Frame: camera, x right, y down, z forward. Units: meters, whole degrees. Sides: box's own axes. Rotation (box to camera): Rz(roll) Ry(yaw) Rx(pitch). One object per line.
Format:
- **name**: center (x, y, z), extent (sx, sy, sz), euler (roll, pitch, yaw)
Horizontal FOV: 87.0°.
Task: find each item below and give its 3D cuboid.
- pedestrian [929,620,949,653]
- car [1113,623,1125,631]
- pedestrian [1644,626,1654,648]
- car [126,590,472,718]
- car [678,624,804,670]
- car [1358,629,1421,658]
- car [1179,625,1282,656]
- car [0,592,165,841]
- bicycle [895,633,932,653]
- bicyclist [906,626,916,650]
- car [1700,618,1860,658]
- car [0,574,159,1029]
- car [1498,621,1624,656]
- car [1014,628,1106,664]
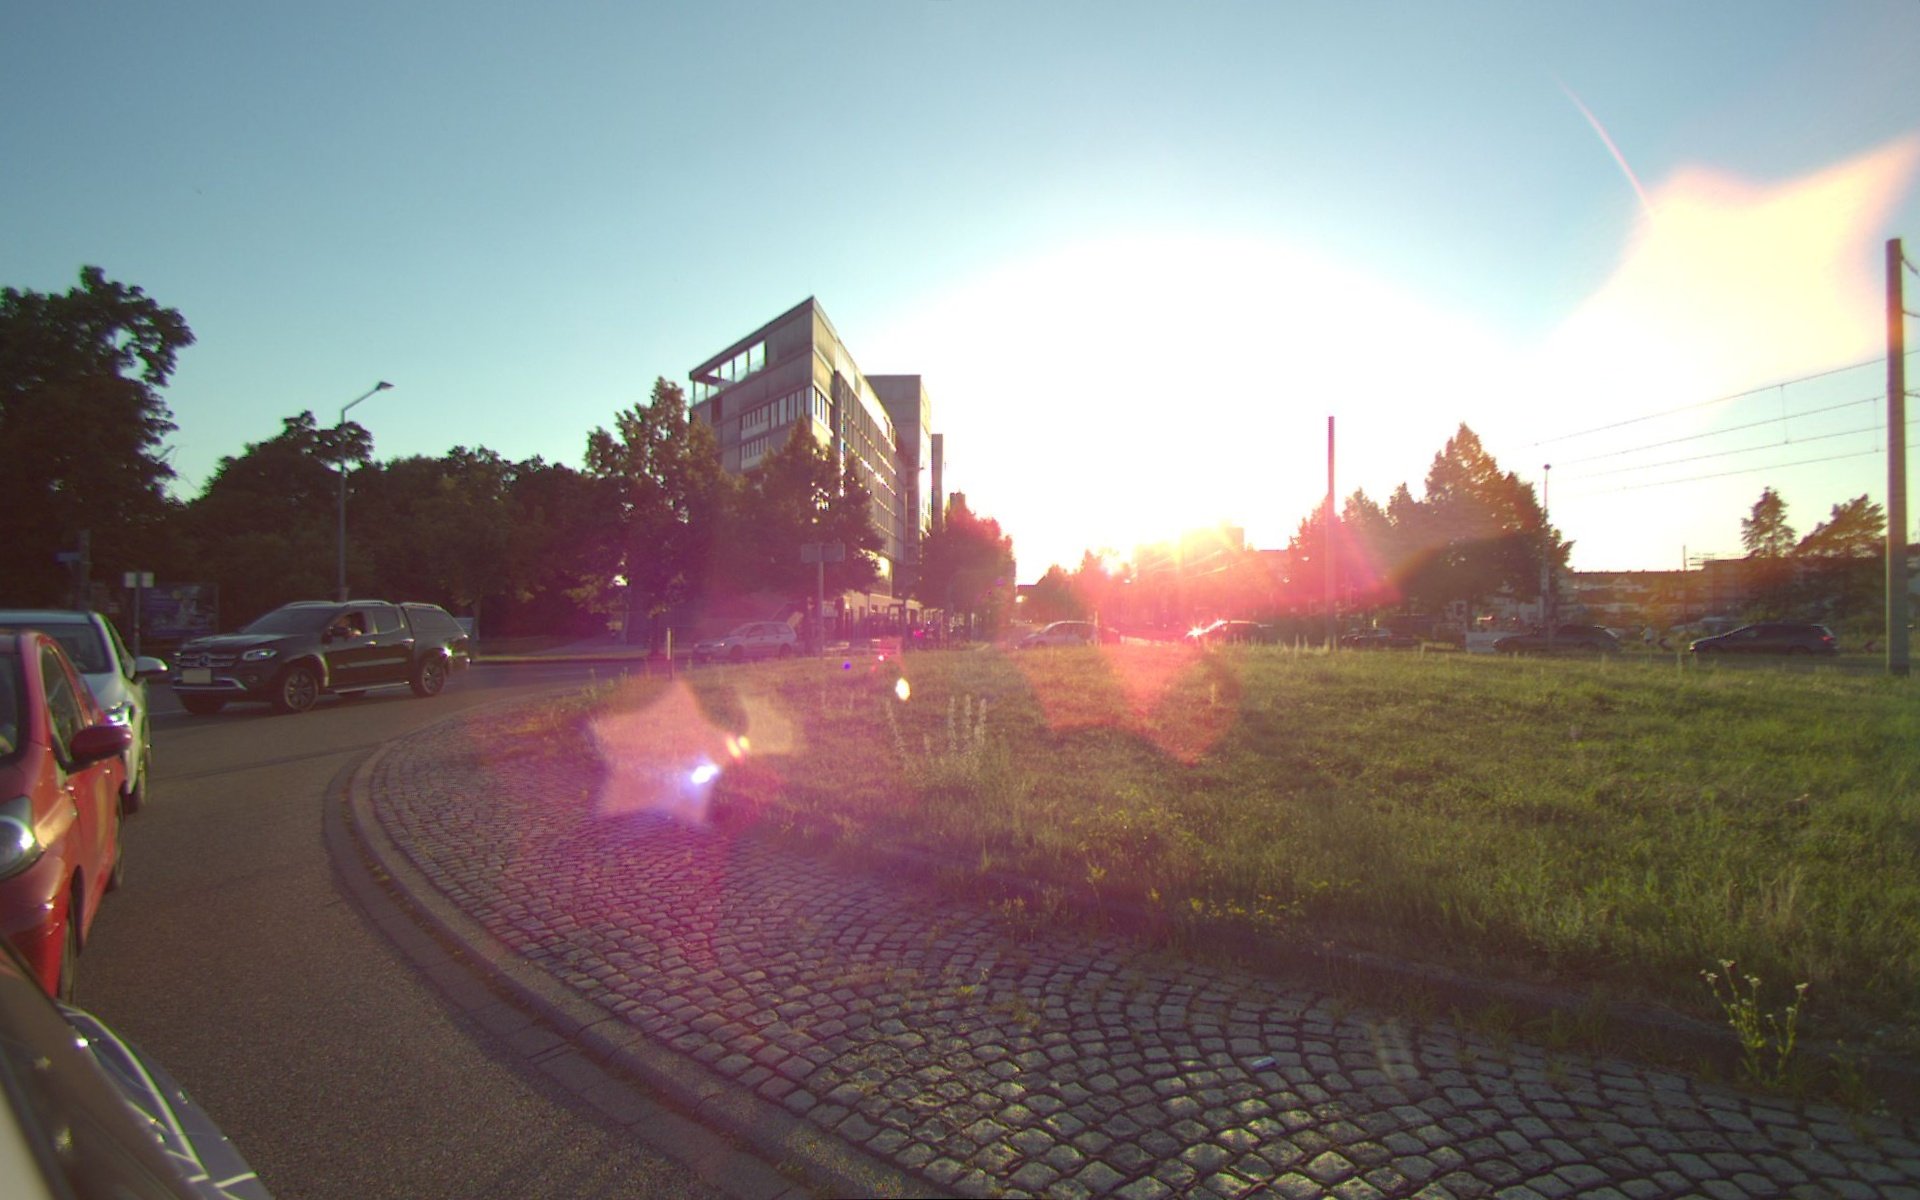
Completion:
- **pedestrian**: center (-1.340, 2.311, 64.611), extent (0.995, 2.029, 0.768), euler (-1, 0, 29)
- **car**: center (35.805, 6.112, 227.748), extent (1.972, 1.737, 4.000), euler (-1, 0, 0)
- **pedestrian**: center (40.053, 2.148, 58.814), extent (0.397, 1.318, 0.423), euler (-1, -2, 41)
- **car**: center (-11.060, 0.913, 17.564), extent (1.978, 1.827, 5.289), euler (-2, -3, 10)
- **car**: center (-7.946, 1.675, 37.094), extent (1.828, 1.571, 4.515), euler (-1, -2, 34)
- **car**: center (25.943, 2.598, 61.304), extent (1.971, 1.663, 4.001), euler (0, -1, -1)
- **car**: center (12.762, 1.899, 47.968), extent (4.325, 1.386, 1.999), euler (0, -1, 2)
- **car**: center (-7.731, 0.796, 8.103), extent (1.967, 1.618, 4.208), euler (1, -1, -36)
- **bicycle**: center (-2.882, 2.681, 62.952), extent (2.315, 1.254, 0.742), euler (0, -1, 0)
- **bicyclist**: center (-3.063, 2.357, 62.974), extent (0.602, 1.451, 0.692), euler (0, -1, -2)
- **car**: center (30.637, 1.392, 37.901), extent (1.969, 1.386, 4.389), euler (1, -2, -42)
- **car**: center (-4.738, 0.671, 4.438), extent (1.661, 1.431, 4.010), euler (1, -2, -35)
- **car**: center (25.643, 1.611, 43.241), extent (4.348, 1.386, 1.973), euler (-1, -2, 40)
- **car**: center (4.647, 2.121, 47.135), extent (3.827, 1.592, 1.959), euler (0, -1, -13)
